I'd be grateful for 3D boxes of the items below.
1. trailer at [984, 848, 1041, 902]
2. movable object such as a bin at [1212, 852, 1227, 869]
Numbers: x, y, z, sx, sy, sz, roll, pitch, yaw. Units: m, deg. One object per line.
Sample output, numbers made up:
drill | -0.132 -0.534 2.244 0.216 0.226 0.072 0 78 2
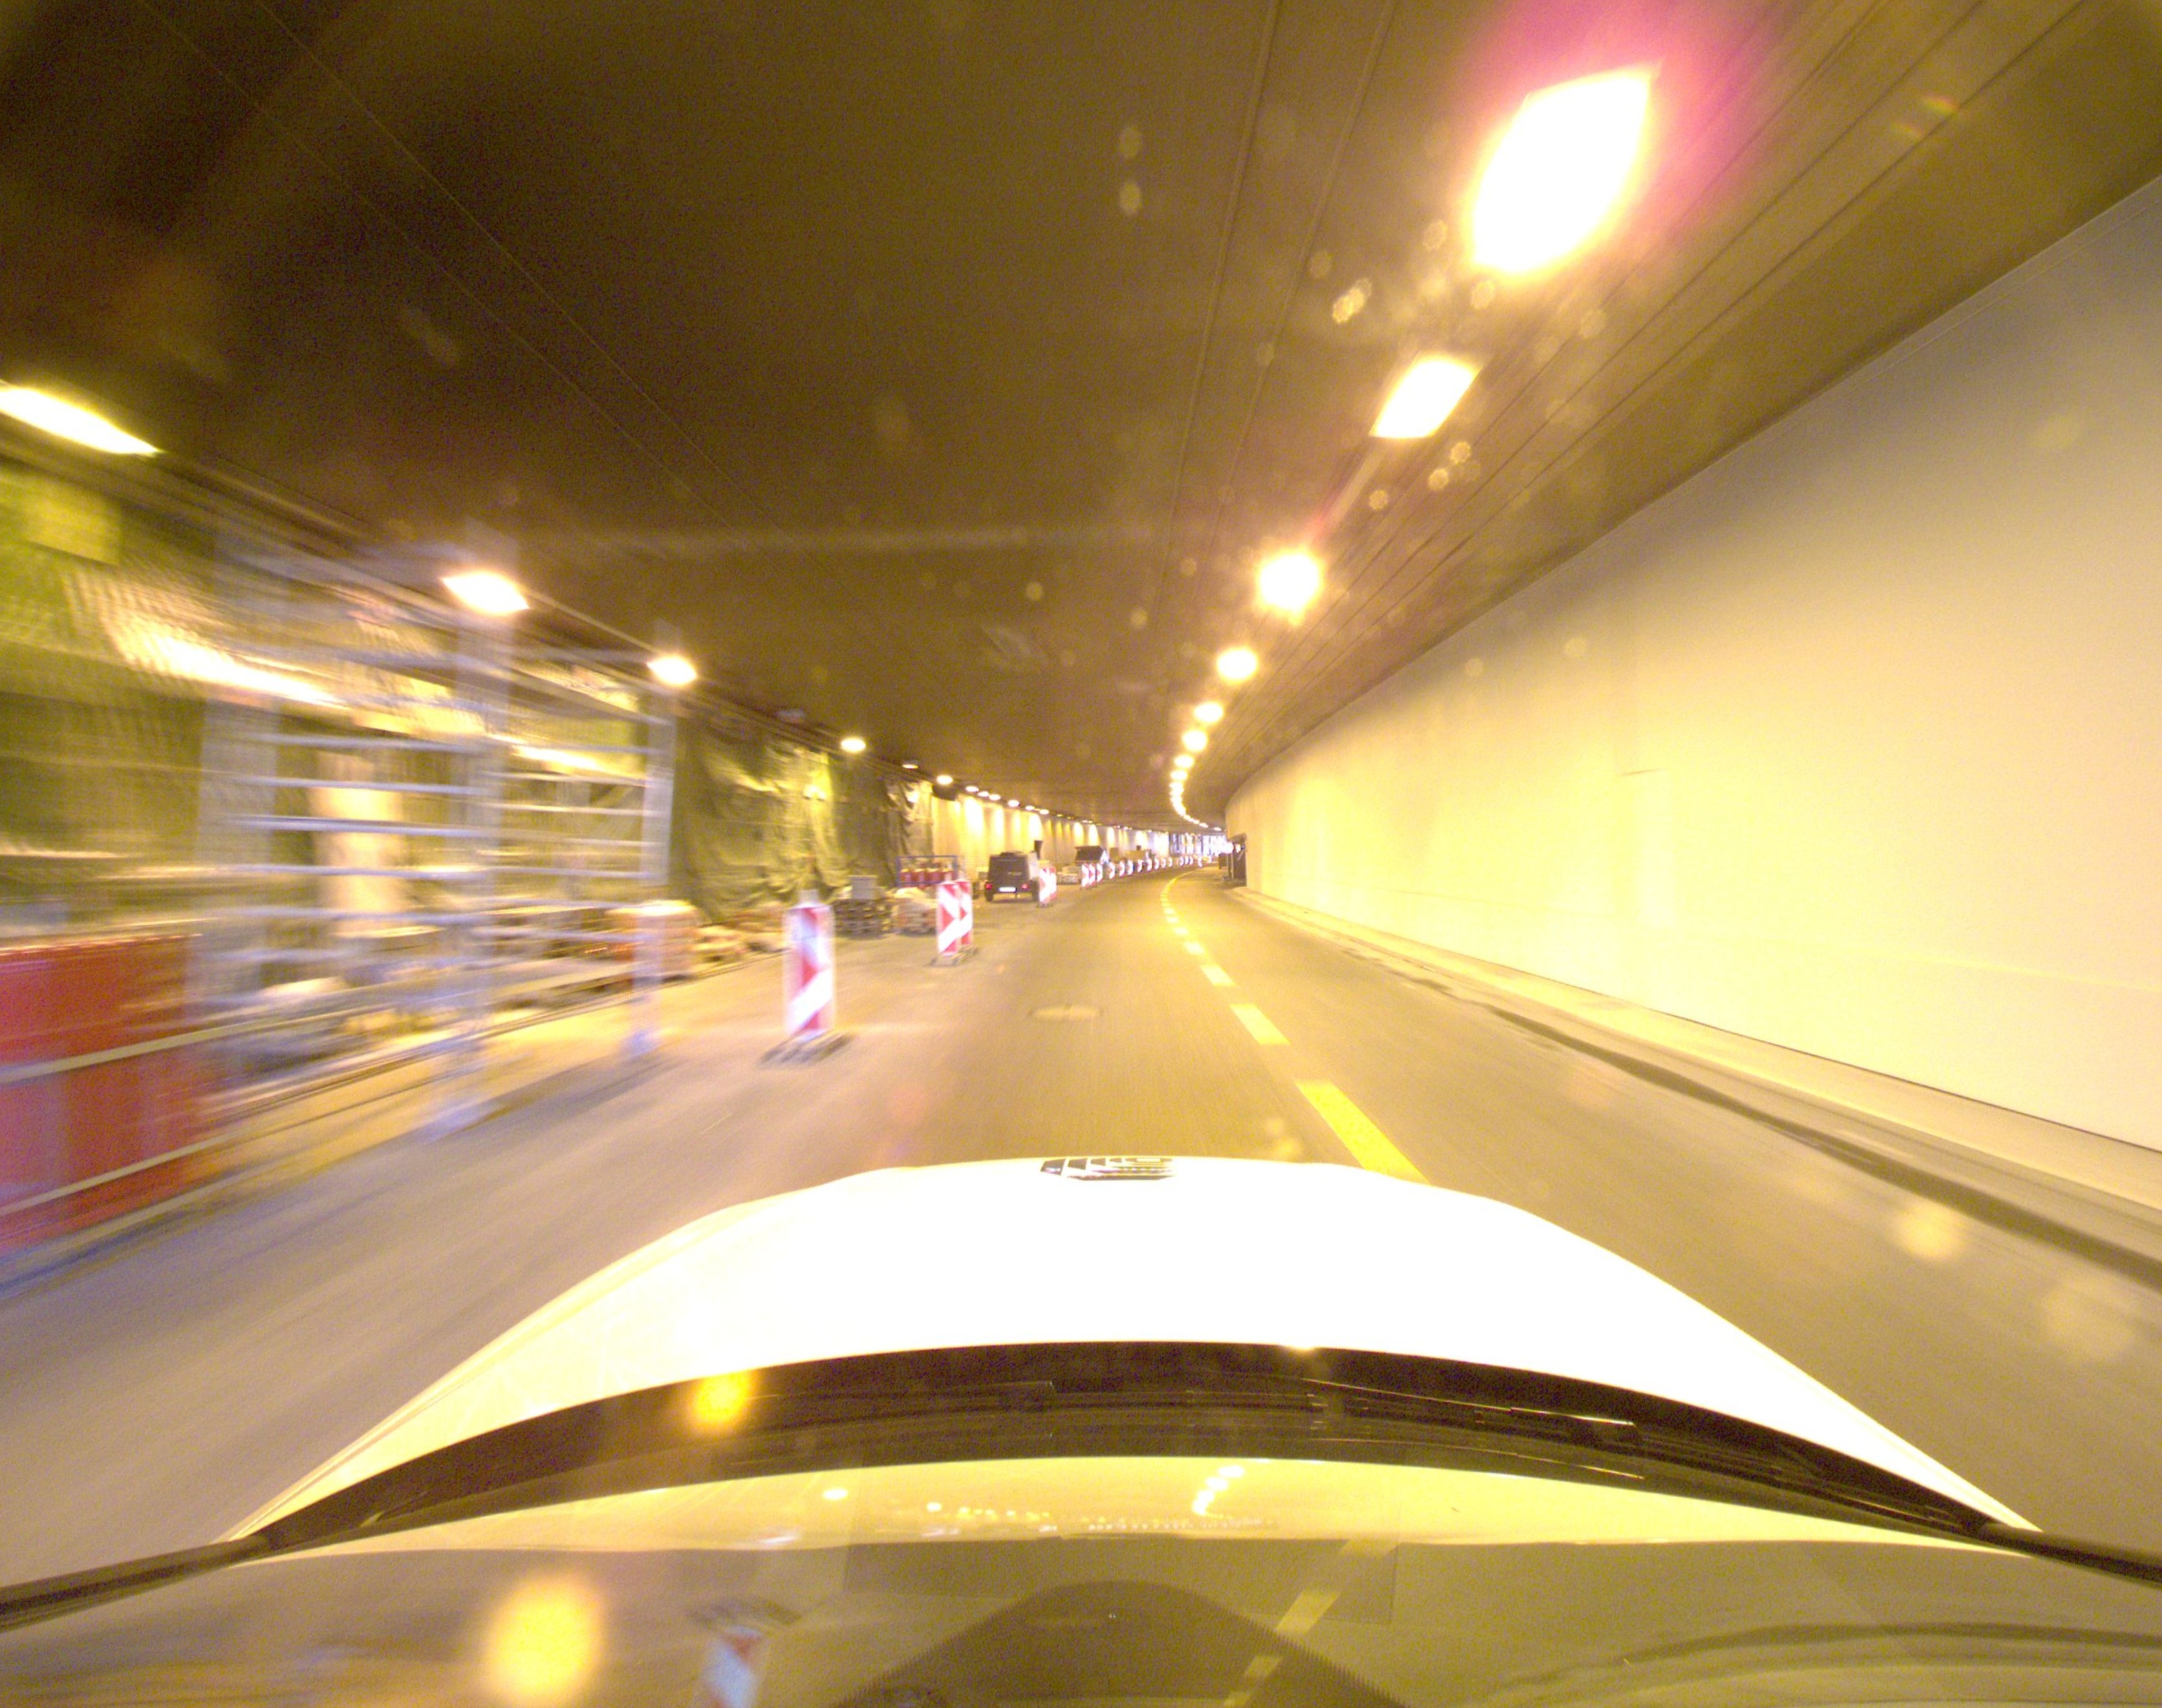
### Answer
trailer | -2.377 0.729 28.897 1.573 1.798 2.942 -1 -1 4
movable object such as a bin | 12.367 0.556 72.814 1.187 1.460 1.610 -4 -1 12
